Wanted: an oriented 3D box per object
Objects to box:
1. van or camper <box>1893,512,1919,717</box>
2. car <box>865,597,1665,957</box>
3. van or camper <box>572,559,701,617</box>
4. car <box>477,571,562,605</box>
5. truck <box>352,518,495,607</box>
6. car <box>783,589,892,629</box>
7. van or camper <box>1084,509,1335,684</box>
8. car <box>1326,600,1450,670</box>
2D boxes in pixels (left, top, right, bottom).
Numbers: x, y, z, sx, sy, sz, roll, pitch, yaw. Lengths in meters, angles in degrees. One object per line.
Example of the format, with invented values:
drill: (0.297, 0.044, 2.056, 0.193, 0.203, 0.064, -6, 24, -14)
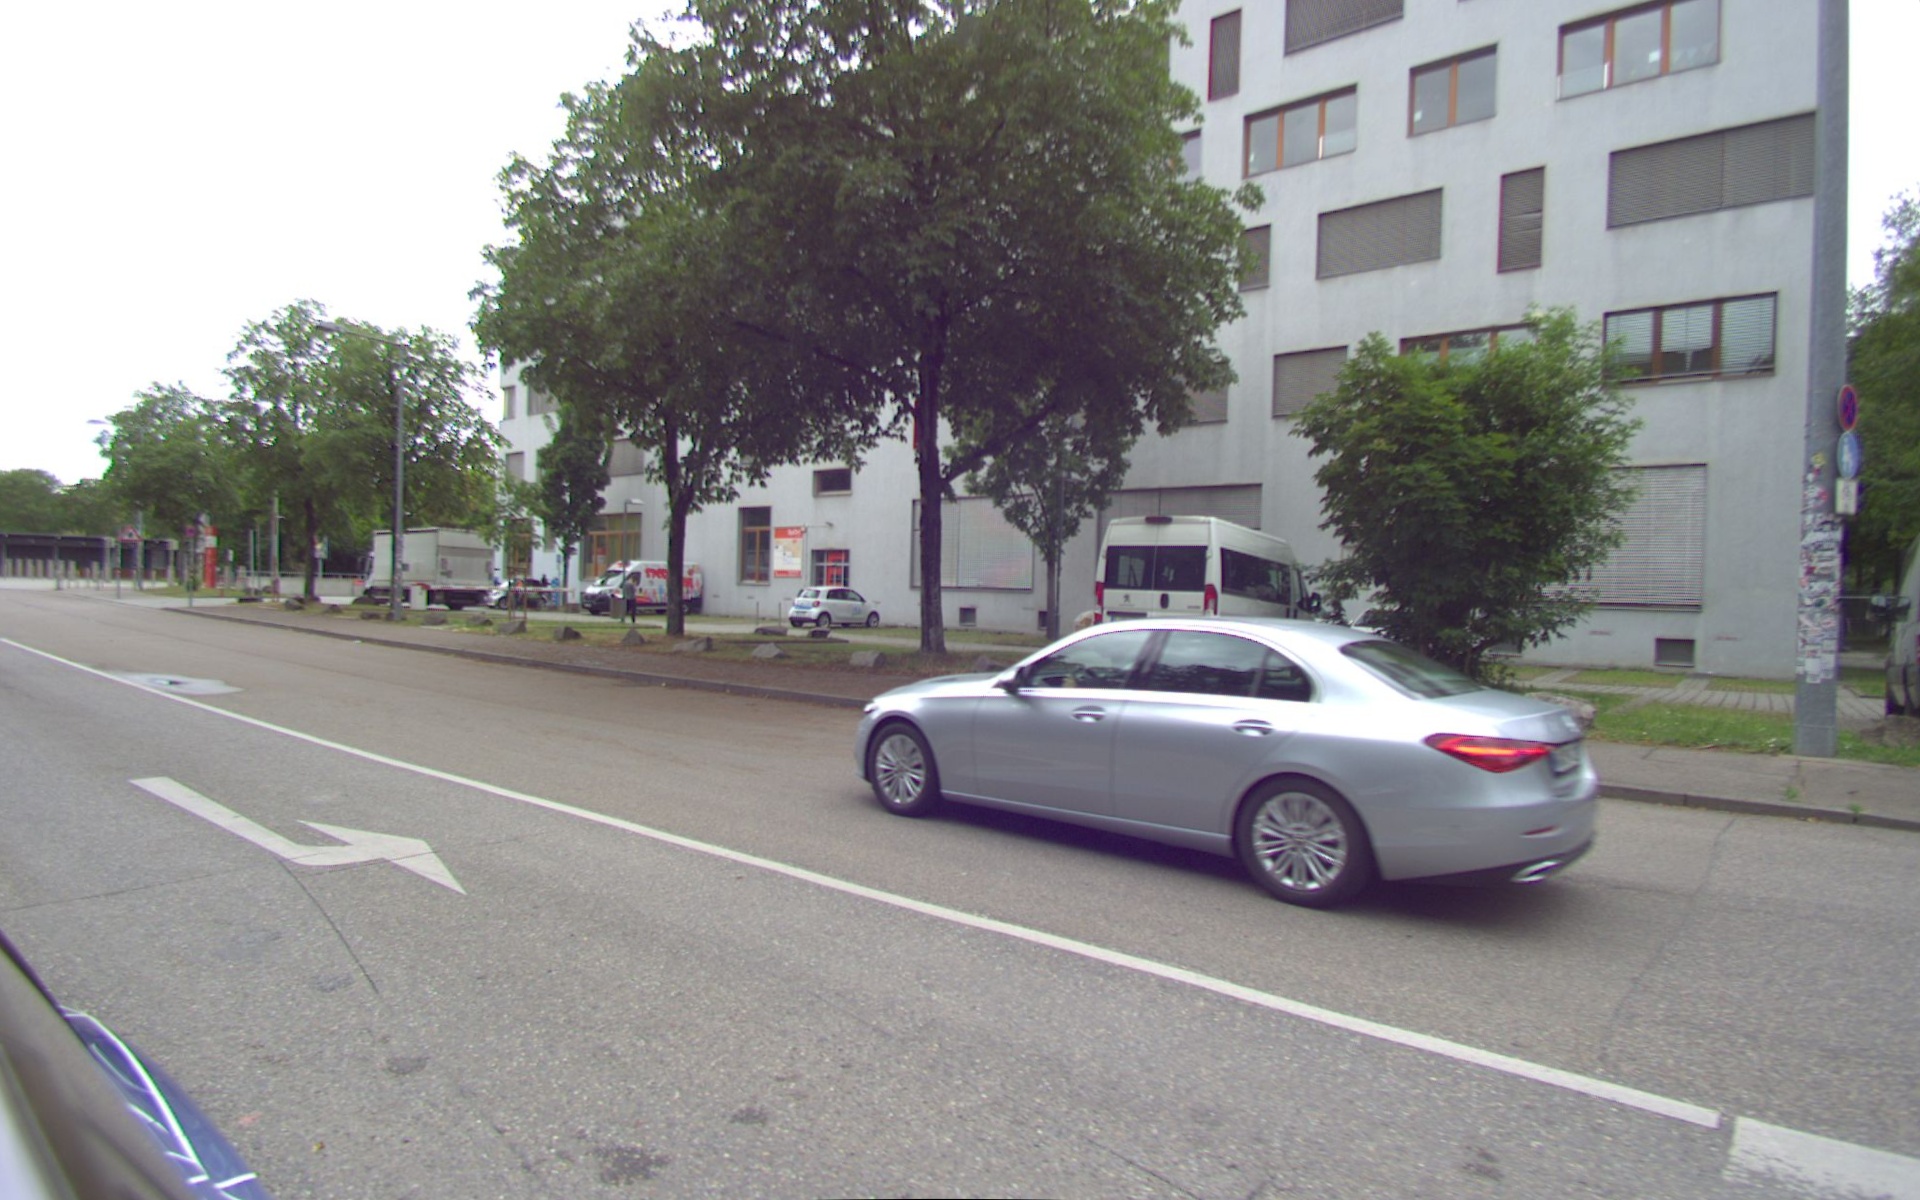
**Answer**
van or camper: (11.597, 0.217, 10.766, 2.168, 2.126, 5.568, 0, -3, 40)
car: (1.509, 0.713, 6.147, 4.371, 1.408, 1.679, 1, -1, 43)
van or camper: (-14.554, -0.498, 45.786, 2.255, 2.444, 5.201, 1, 0, 38)
car: (-22.838, -0.610, 52.529, 1.655, 1.660, 3.650, 1, -1, 43)
truck: (-24.554, -1.627, 46.131, 7.828, 3.644, 2.616, 1, -2, 38)
car: (-4.529, 0.336, 37.905, 1.713, 1.429, 3.958, 1, 0, 40)
van or camper: (4.323, 0.020, 16.825, 2.154, 2.442, 5.120, 1, -2, 38)
car: (10.691, 0.796, 25.132, 1.856, 1.470, 4.024, 0, 2, 38)
